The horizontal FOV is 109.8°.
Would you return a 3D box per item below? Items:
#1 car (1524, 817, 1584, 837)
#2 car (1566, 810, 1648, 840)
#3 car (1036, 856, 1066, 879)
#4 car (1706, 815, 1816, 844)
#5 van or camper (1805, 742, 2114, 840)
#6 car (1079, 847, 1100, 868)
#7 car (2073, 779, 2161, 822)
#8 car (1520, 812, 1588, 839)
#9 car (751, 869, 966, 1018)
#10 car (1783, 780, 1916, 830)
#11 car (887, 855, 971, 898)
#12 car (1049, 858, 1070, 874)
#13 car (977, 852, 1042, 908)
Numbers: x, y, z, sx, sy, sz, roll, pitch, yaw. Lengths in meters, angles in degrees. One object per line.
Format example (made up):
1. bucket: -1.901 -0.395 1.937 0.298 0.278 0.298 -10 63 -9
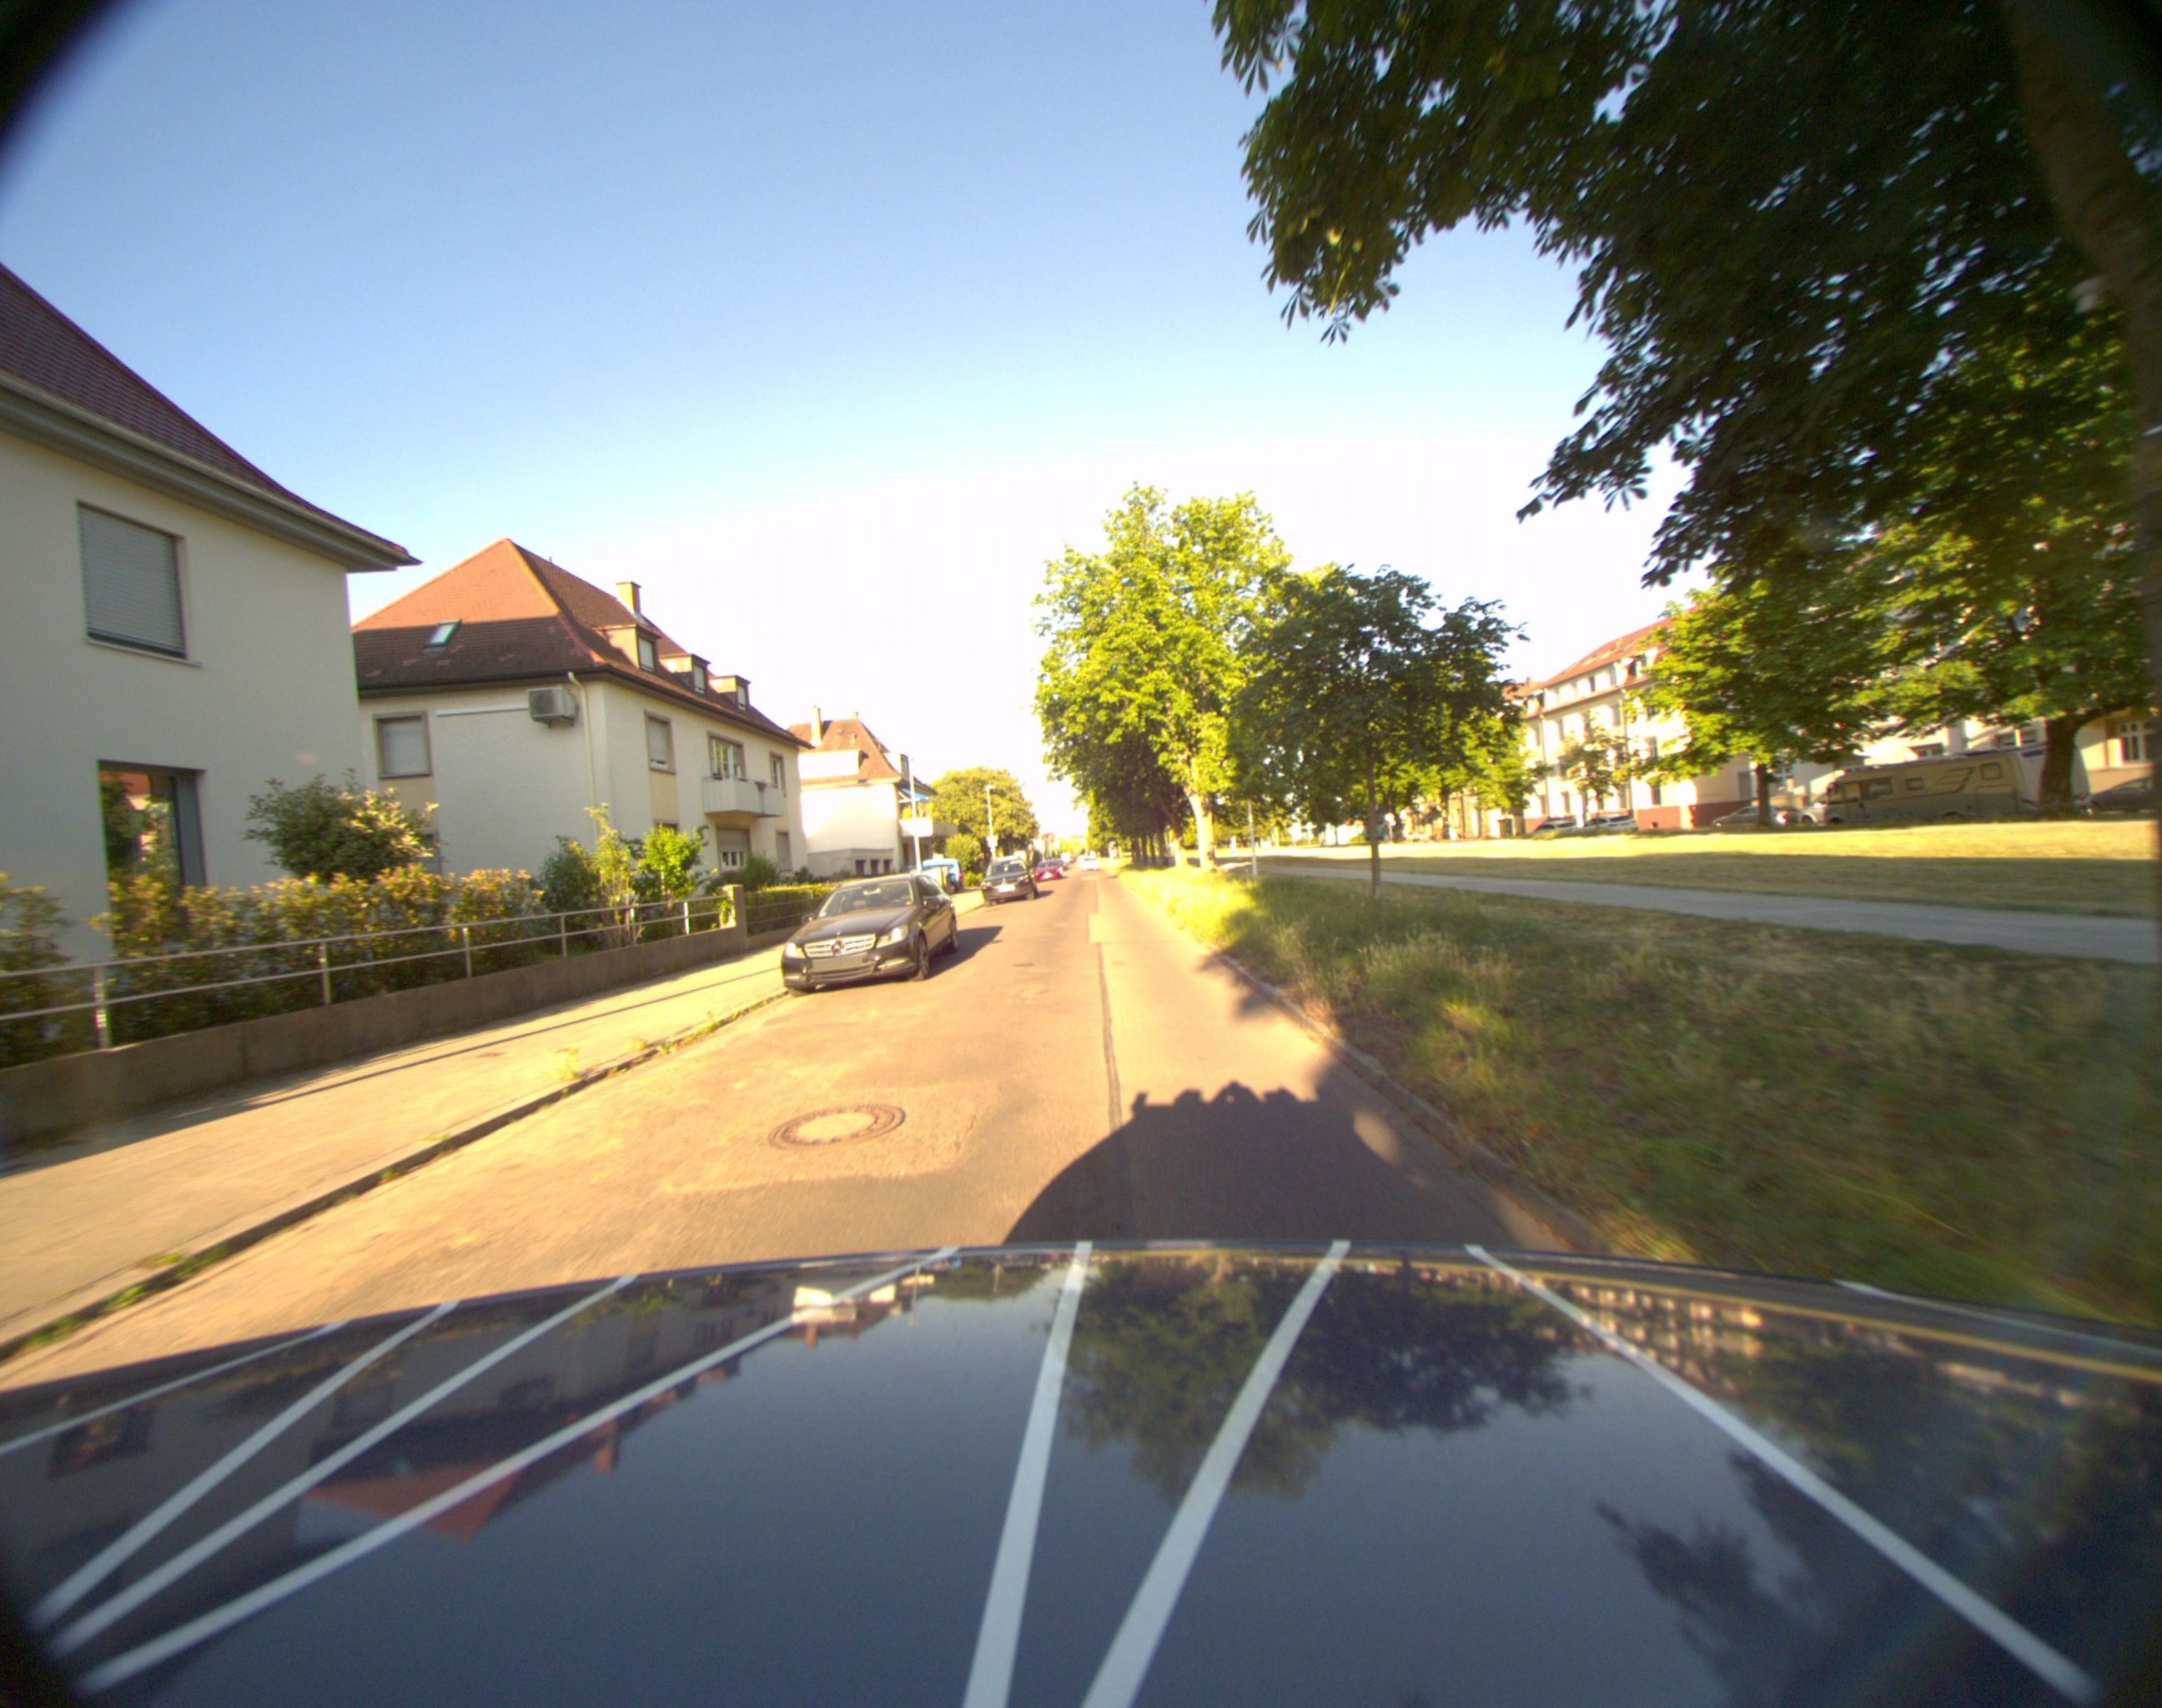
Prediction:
1. car: 41.088 -2.353 66.188 1.999 1.445 4.875 -4 0 -1
2. car: 34.683 -1.876 50.279 1.998 1.680 4.876 -4 0 1
3. car: -2.137 0.958 55.166 1.824 1.486 4.224 -4 0 0
4. car: 40.323 -1.407 45.246 1.999 1.445 4.875 -4 0 -1
5. van or camper: 34.537 -2.264 30.571 3.262 3.092 7.897 -4 0 1
6. car: 0.950 0.381 79.741 1.998 2.002 4.000 -5 0 1
7. car: 40.237 -2.053 28.037 1.998 1.455 4.000 -5 0 1
8. car: 34.730 -2.032 55.954 1.998 1.680 4.876 -4 0 1
9. car: -2.991 1.120 11.297 1.784 1.490 4.397 -7 0 -1
10. car: 40.217 -2.491 39.953 1.998 2.189 4.876 -4 0 1
11. car: -8.038 1.189 40.467 3.998 1.917 2.000 -4 0 -2
12. car: -2.499 1.423 89.228 1.998 1.575 4.347 -6 0 1
13. car: -2.641 0.918 29.102 1.862 1.710 4.467 -9 0 -1
